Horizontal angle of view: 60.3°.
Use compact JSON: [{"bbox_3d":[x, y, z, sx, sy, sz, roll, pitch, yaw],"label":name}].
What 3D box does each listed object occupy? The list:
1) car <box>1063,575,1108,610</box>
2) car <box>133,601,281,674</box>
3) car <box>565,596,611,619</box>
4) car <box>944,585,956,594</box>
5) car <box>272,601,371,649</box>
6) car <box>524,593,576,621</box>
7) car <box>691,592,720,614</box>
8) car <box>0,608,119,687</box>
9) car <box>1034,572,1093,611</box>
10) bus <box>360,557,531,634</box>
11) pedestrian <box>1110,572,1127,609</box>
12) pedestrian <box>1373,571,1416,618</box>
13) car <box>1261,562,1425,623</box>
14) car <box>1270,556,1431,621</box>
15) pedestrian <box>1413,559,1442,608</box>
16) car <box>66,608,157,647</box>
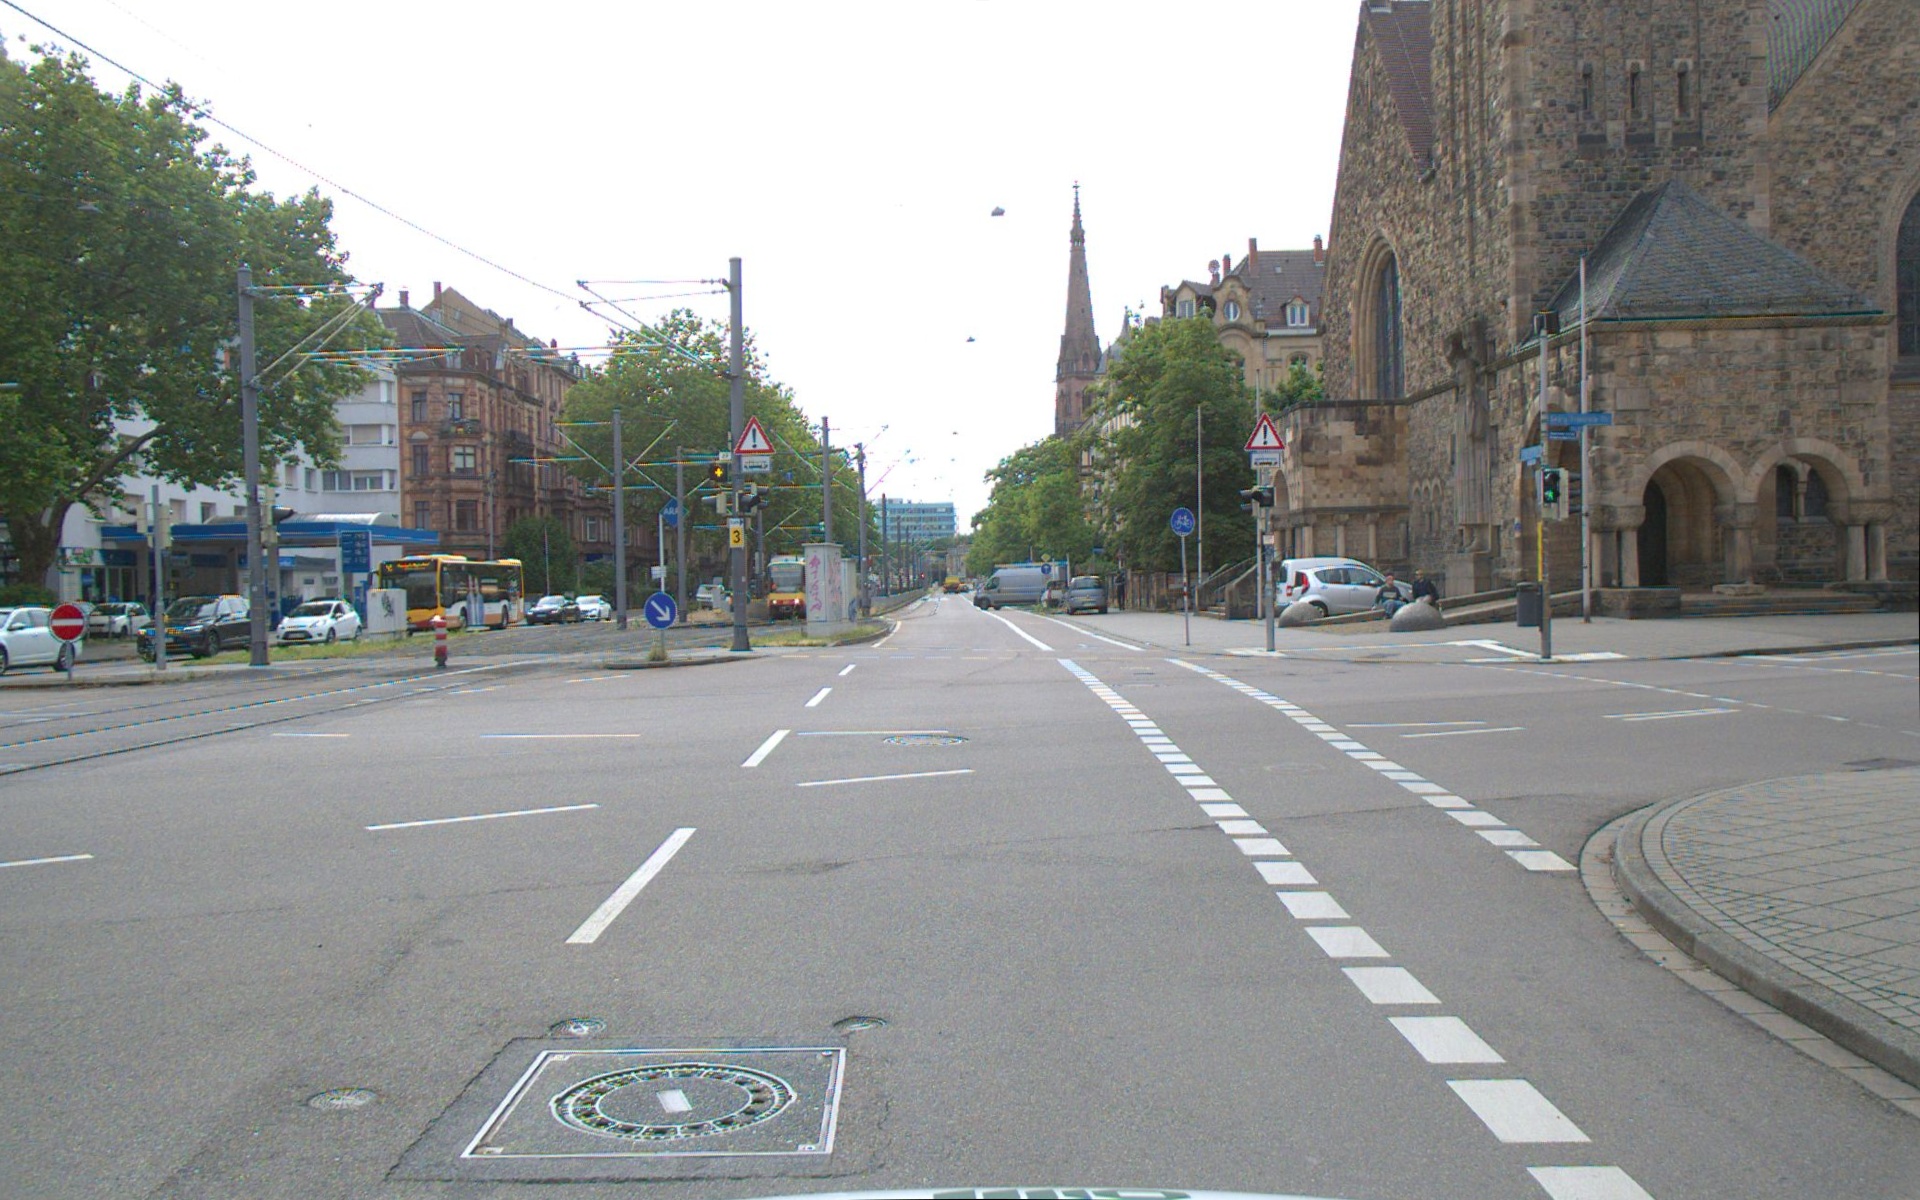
[{"bbox_3d":[5.471,-0.335,72.277,1.667,1.484,3.891,0,1,0],"label":"car"},{"bbox_3d":[-20.510,0.970,45.305,1.667,1.814,5.150,0,1,0],"label":"car"},{"bbox_3d":[-20.500,0.399,91.284,1.667,1.242,3.891,0,1,0],"label":"car"},{"bbox_3d":[-1.576,-1.593,259.538,1.768,1.364,3.999,-2,1,-1],"label":"car"},{"bbox_3d":[-20.660,0.779,53.643,1.667,1.422,3.891,0,1,0],"label":"car"},{"bbox_3d":[-20.874,0.341,84.272,1.667,1.382,3.891,0,1,0],"label":"car"},{"bbox_3d":[-20.191,0.223,131.173,1.667,1.742,3.891,0,1,0],"label":"car"},{"bbox_3d":[-20.703,1.003,36.106,1.803,1.552,5.702,0,1,0],"label":"car"},{"bbox_3d":[5.104,-0.438,82.428,2.159,1.776,5.029,-2,1,-5],"label":"car"},{"bbox_3d":[-21.160,-0.268,69.086,3.214,2.906,12.381,0,1,0],"label":"bus"},{"bbox_3d":[7.261,-0.456,75.739,0.760,1.676,0.799,0,0,5],"label":"pedestrian"},{"bbox_3d":[11.406,-0.152,43.423,0.721,1.212,1.493,0,1,0],"label":"pedestrian"},{"bbox_3d":[10.824,-0.216,46.948,4.260,1.665,1.662,0,1,-1],"label":"car"},{"bbox_3d":[11.862,-0.351,50.388,4.516,1.914,1.662,0,1,-1],"label":"car"},{"bbox_3d":[12.341,-0.437,43.680,0.721,1.250,1.063,0,1,14],"label":"pedestrian"},{"bbox_3d":[-31.976,1.013,62.426,1.667,1.382,3.404,0,1,0],"label":"car"}]
